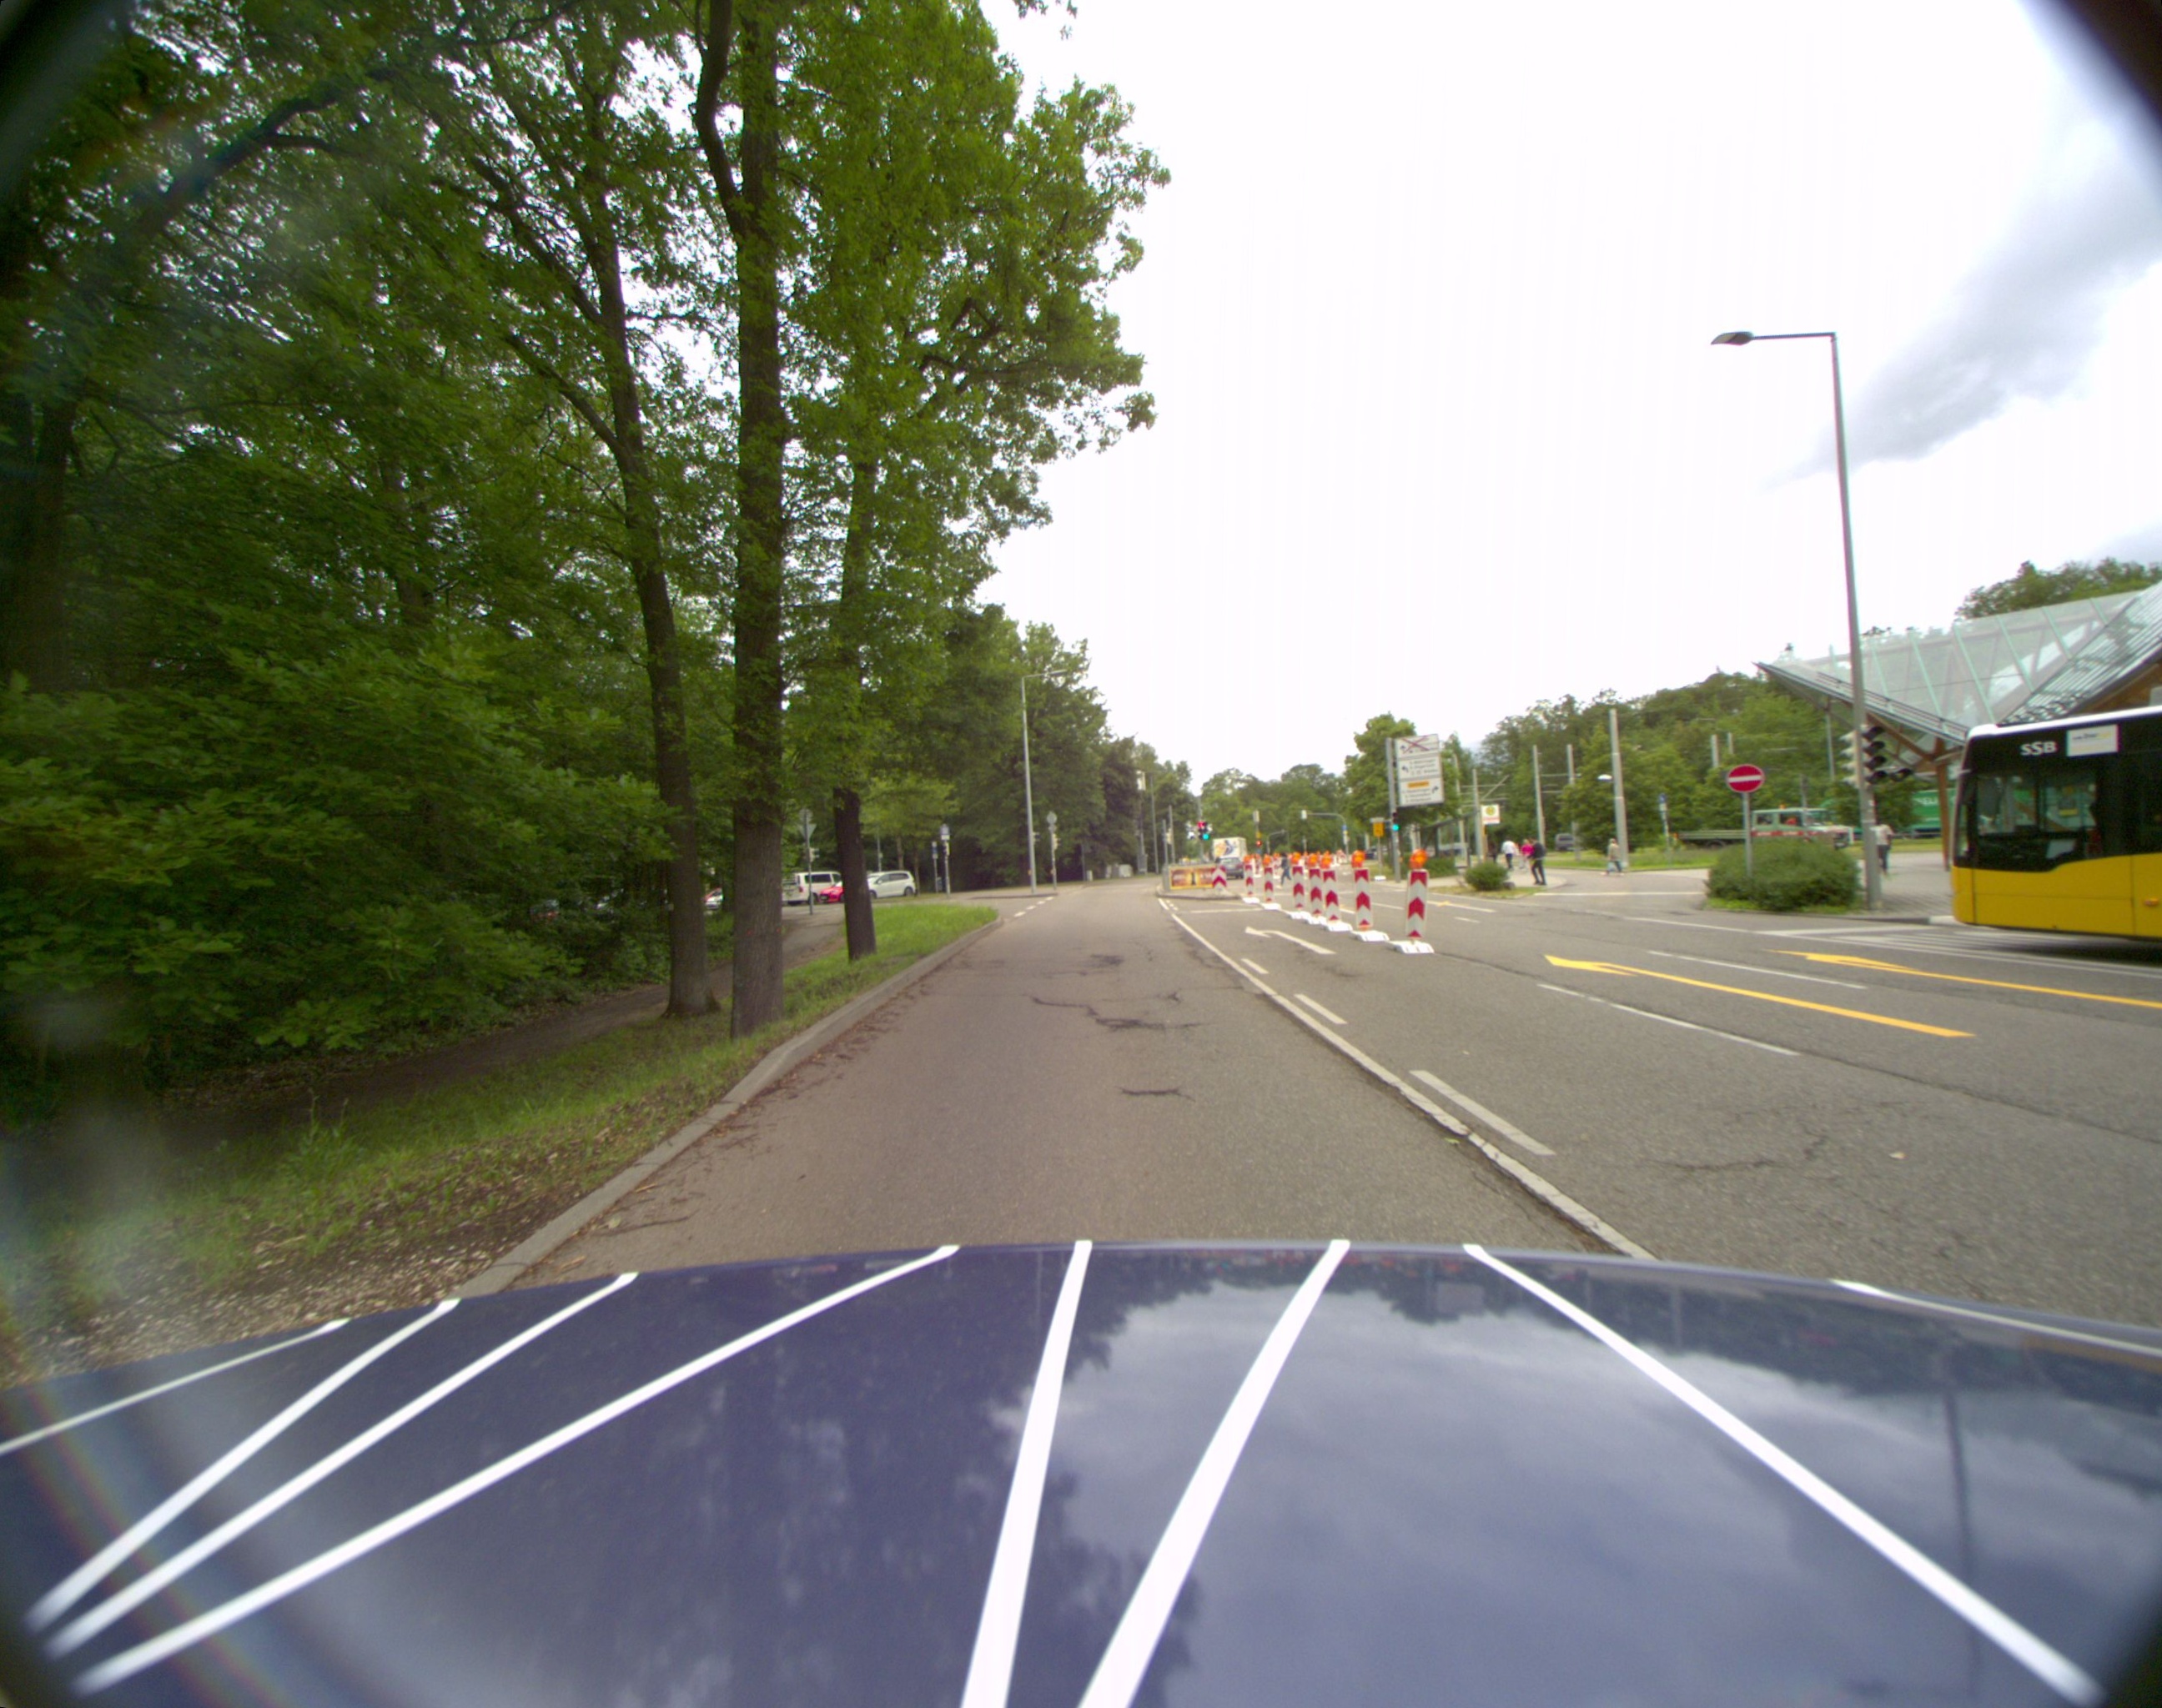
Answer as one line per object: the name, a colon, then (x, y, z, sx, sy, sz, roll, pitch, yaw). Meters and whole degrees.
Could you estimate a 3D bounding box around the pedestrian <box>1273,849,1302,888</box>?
pedestrian: (9.027, 0.629, 33.200, 1.092, 1.666, 0.912, -3, 0, 12)

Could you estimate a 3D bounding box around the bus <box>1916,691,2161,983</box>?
bus: (13.016, -0.250, 5.544, 2.906, 3.108, 9.758, -3, 0, -1)

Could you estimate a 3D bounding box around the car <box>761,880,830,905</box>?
car: (-18.350, 2.451, 48.941, 1.717, 1.320, 3.942, -5, -1, 27)

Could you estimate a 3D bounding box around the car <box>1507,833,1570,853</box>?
car: (45.587, -1.121, 75.785, 4.898, 1.578, 1.961, -5, -1, 45)

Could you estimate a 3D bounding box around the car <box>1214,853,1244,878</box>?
car: (9.673, 0.716, 49.884, 1.811, 1.500, 4.310, -2, 1, 9)

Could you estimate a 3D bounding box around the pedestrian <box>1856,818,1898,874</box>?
pedestrian: (23.666, -0.239, 22.593, 0.674, 1.587, 0.674, -4, -1, -35)

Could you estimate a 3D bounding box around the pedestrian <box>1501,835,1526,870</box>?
pedestrian: (21.342, -0.085, 37.483, 0.685, 1.655, 0.871, -4, 0, 7)

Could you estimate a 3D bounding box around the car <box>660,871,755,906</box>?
car: (-18.186, 1.638, 37.147, 1.817, 1.411, 3.855, -5, -1, 22)

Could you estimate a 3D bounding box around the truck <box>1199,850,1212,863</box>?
truck: (33.777, 0.719, 206.122, 2.744, 3.192, 6.680, -4, -1, 13)

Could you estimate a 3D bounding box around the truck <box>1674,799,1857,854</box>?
truck: (34.297, -1.292, 38.400, 2.609, 2.157, 6.294, -4, -1, -19)

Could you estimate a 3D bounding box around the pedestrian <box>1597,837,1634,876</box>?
pedestrian: (22.096, 0.104, 31.413, 0.768, 1.515, 0.875, -4, -1, -5)

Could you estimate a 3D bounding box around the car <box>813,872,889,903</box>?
car: (-13.869, 2.007, 45.904, 1.890, 1.542, 4.007, -5, -1, 34)

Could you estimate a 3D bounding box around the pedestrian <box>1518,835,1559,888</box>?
pedestrian: (16.352, 0.262, 27.147, 0.992, 1.798, 0.768, -5, -1, 43)

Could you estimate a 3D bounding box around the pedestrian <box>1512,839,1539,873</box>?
pedestrian: (20.843, 0.101, 35.658, 0.791, 1.542, 0.776, -4, 0, 10)

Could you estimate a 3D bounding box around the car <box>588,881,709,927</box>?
car: (-21.984, 2.489, 38.866, 1.995, 1.867, 4.958, -5, -1, 28)

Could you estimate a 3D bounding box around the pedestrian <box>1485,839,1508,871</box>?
pedestrian: (21.219, 0.045, 38.803, 0.775, 1.537, 0.629, -4, 1, 12)

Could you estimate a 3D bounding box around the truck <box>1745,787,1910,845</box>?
truck: (61.224, -3.002, 62.714, 3.791, 3.858, 8.760, -4, -1, -19)

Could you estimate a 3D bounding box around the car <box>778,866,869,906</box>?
car: (-15.971, 1.957, 47.490, 2.058, 1.946, 5.191, -5, 1, 30)

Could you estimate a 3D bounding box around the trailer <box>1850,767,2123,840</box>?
trailer: (64.073, -3.354, 54.503, 3.791, 3.858, 11.853, -4, -1, -19)

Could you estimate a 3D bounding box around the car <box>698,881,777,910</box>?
car: (-22.836, 2.759, 50.699, 1.839, 1.548, 4.540, -5, -1, 27)

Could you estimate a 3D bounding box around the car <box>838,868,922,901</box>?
car: (-11.766, 1.773, 44.714, 1.995, 1.542, 4.429, -5, -1, 34)

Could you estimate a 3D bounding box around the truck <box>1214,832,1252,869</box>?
truck: (14.340, -0.309, 71.192, 2.632, 3.219, 6.214, -1, 0, 19)
